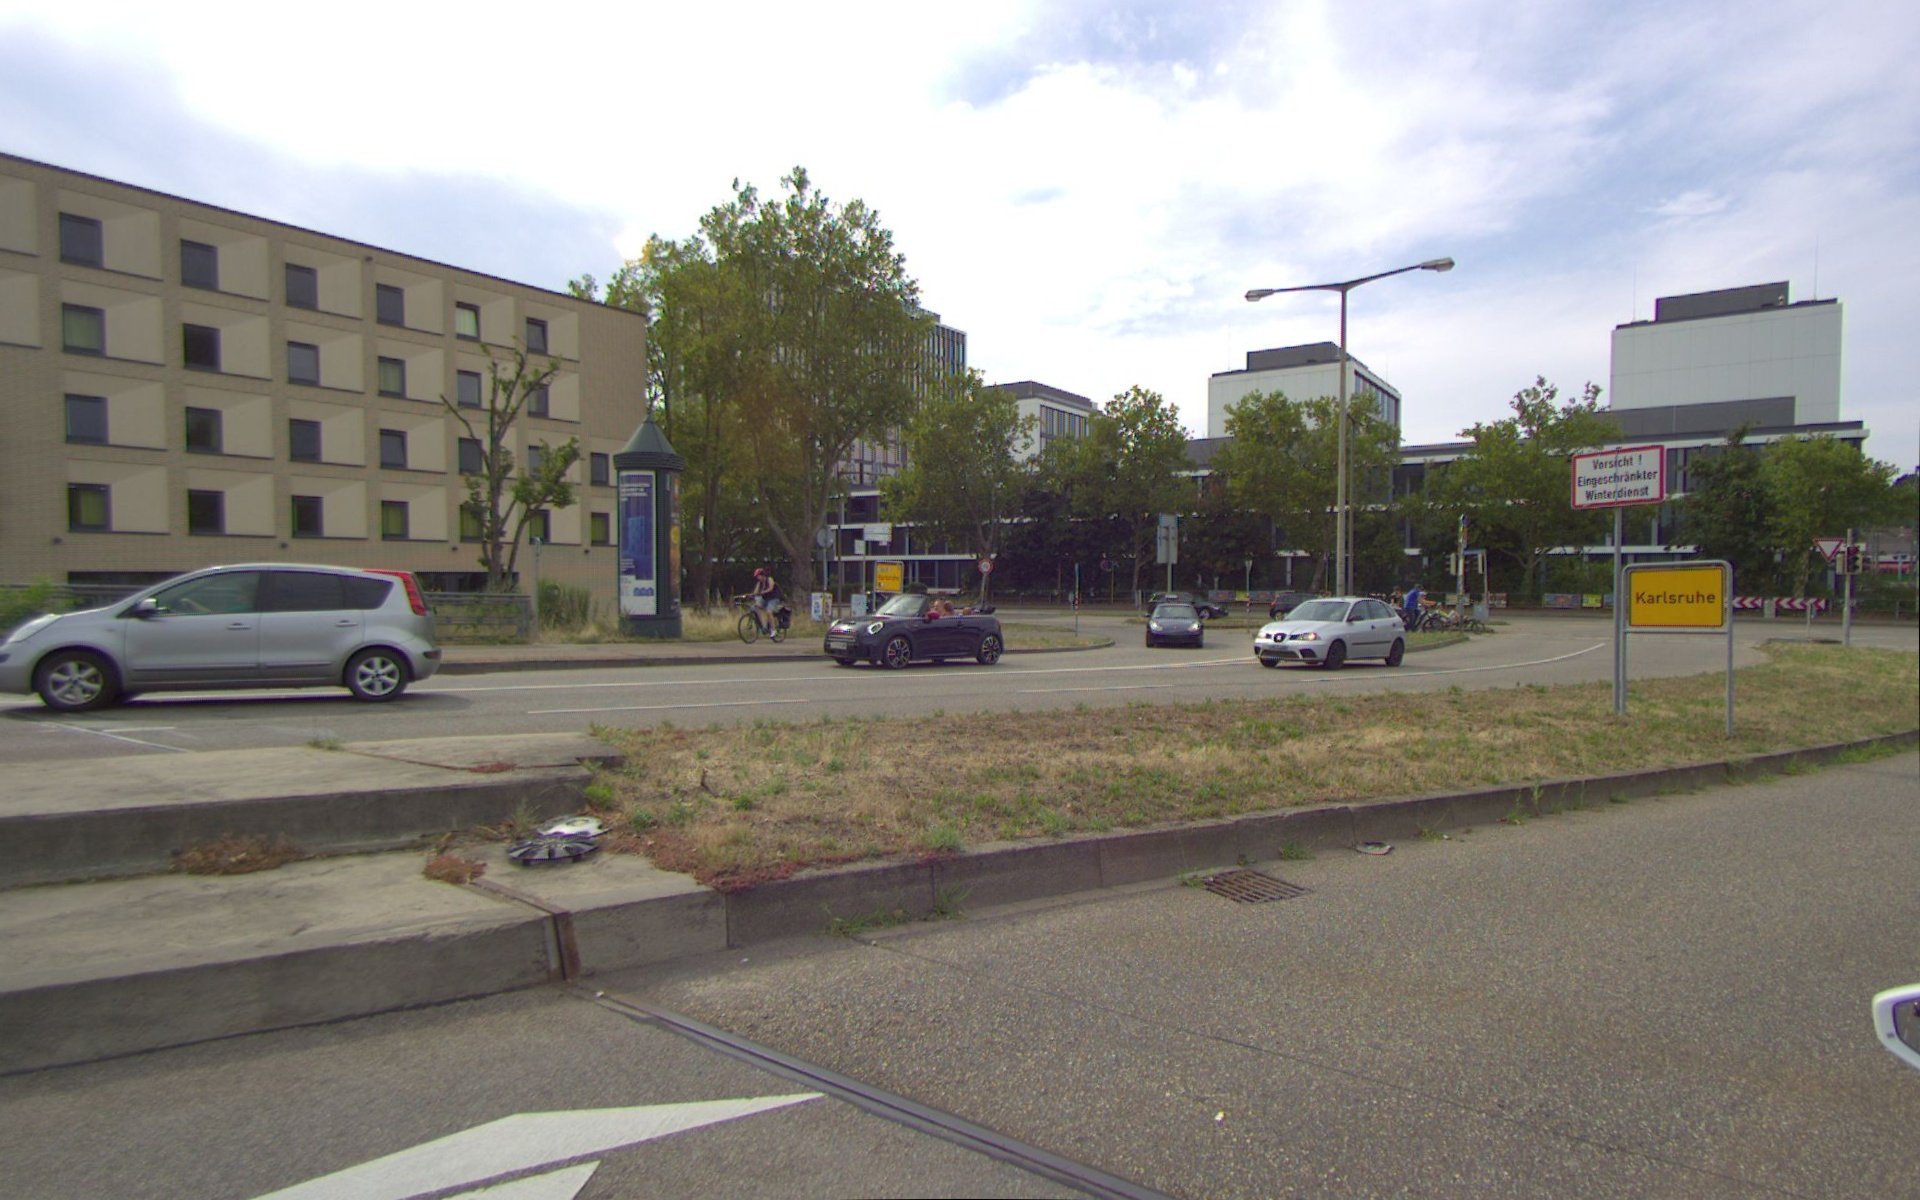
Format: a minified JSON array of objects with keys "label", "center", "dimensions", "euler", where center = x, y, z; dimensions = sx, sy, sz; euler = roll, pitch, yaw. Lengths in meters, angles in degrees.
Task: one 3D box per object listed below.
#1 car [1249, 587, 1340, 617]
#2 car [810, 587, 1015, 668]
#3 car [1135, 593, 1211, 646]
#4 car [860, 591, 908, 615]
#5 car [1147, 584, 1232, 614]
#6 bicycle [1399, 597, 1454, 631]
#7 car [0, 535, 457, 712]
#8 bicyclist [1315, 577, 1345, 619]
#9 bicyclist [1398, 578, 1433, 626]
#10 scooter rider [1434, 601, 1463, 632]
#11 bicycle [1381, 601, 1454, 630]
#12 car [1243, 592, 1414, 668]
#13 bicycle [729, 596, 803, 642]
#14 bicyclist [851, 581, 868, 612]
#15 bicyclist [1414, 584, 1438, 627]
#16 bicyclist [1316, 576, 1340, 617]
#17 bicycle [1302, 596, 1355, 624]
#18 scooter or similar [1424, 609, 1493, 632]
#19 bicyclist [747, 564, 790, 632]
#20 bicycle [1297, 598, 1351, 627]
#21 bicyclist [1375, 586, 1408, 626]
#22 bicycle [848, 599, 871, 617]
[{"label":"car","center":[16.179,0.080,48.702],"dimensions":[3.987,1.386,1.703],"euler":[1,1,11]},{"label":"car","center":[-0.852,0.507,19.691],"dimensions":[3.850,1.429,1.725],"euler":[1,0,-44]},{"label":"car","center":[6.706,0.553,31.256],"dimensions":[1.791,1.465,4.353],"euler":[2,1,19]},{"label":"car","center":[-4.758,0.195,63.165],"dimensions":[2.673,1.441,1.495],"euler":[1,1,34]},{"label":"car","center":[12.075,-0.059,52.972],"dimensions":[4.003,1.470,1.697],"euler":[2,1,36]},{"label":"bicycle","center":[17.849,0.530,38.448],"dimensions":[1.873,1.226,0.642],"euler":[1,2,29]},{"label":"car","center":[-7.911,0.247,11.214],"dimensions":[4.030,1.681,1.734],"euler":[1,0,-30]},{"label":"bicyclist","center":[13.888,-0.071,37.729],"dimensions":[0.999,1.560,0.628],"euler":[1,2,17]},{"label":"bicyclist","center":[16.108,0.052,35.546],"dimensions":[0.866,1.679,0.812],"euler":[1,1,6]},{"label":"scooter rider","center":[19.313,0.650,39.727],"dimensions":[0.898,1.152,0.808],"euler":[1,2,18]},{"label":"bicycle","center":[16.171,0.547,35.553],"dimensions":[2.190,0.965,0.812],"euler":[1,1,6]},{"label":"car","center":[7.609,0.581,20.591],"dimensions":[3.828,1.429,1.603],"euler":[1,0,-40]},{"label":"bicycle","center":[-4.895,0.456,25.442],"dimensions":[0.674,1.068,1.990],"euler":[2,2,31]},{"label":"bicyclist","center":[-5.374,-0.205,53.701],"dimensions":[0.730,1.637,0.916],"euler":[0,1,-20]},{"label":"bicyclist","center":[17.835,0.209,38.434],"dimensions":[0.768,1.602,0.653],"euler":[1,2,29]},{"label":"bicyclist","center":[14.098,-0.150,38.534],"dimensions":[0.824,1.550,0.628],"euler":[1,2,19]},{"label":"bicycle","center":[14.141,0.385,38.550],"dimensions":[1.869,1.027,0.628],"euler":[1,2,19]},{"label":"scooter or similar","center":[19.637,0.802,39.630],"dimensions":[2.339,0.861,0.808],"euler":[1,2,18]},{"label":"bicyclist","center":[-4.851,-0.066,25.463],"dimensions":[0.674,1.694,0.845],"euler":[2,2,31]},{"label":"bicycle","center":[13.681,0.465,37.803],"dimensions":[1.869,1.027,0.628],"euler":[1,2,14]},{"label":"bicyclist","center":[16.250,0.215,37.832],"dimensions":[1.096,1.456,0.647],"euler":[1,2,26]},{"label":"bicycle","center":[-5.367,0.414,53.667],"dimensions":[0.730,0.921,2.109],"euler":[0,1,-20]}]
